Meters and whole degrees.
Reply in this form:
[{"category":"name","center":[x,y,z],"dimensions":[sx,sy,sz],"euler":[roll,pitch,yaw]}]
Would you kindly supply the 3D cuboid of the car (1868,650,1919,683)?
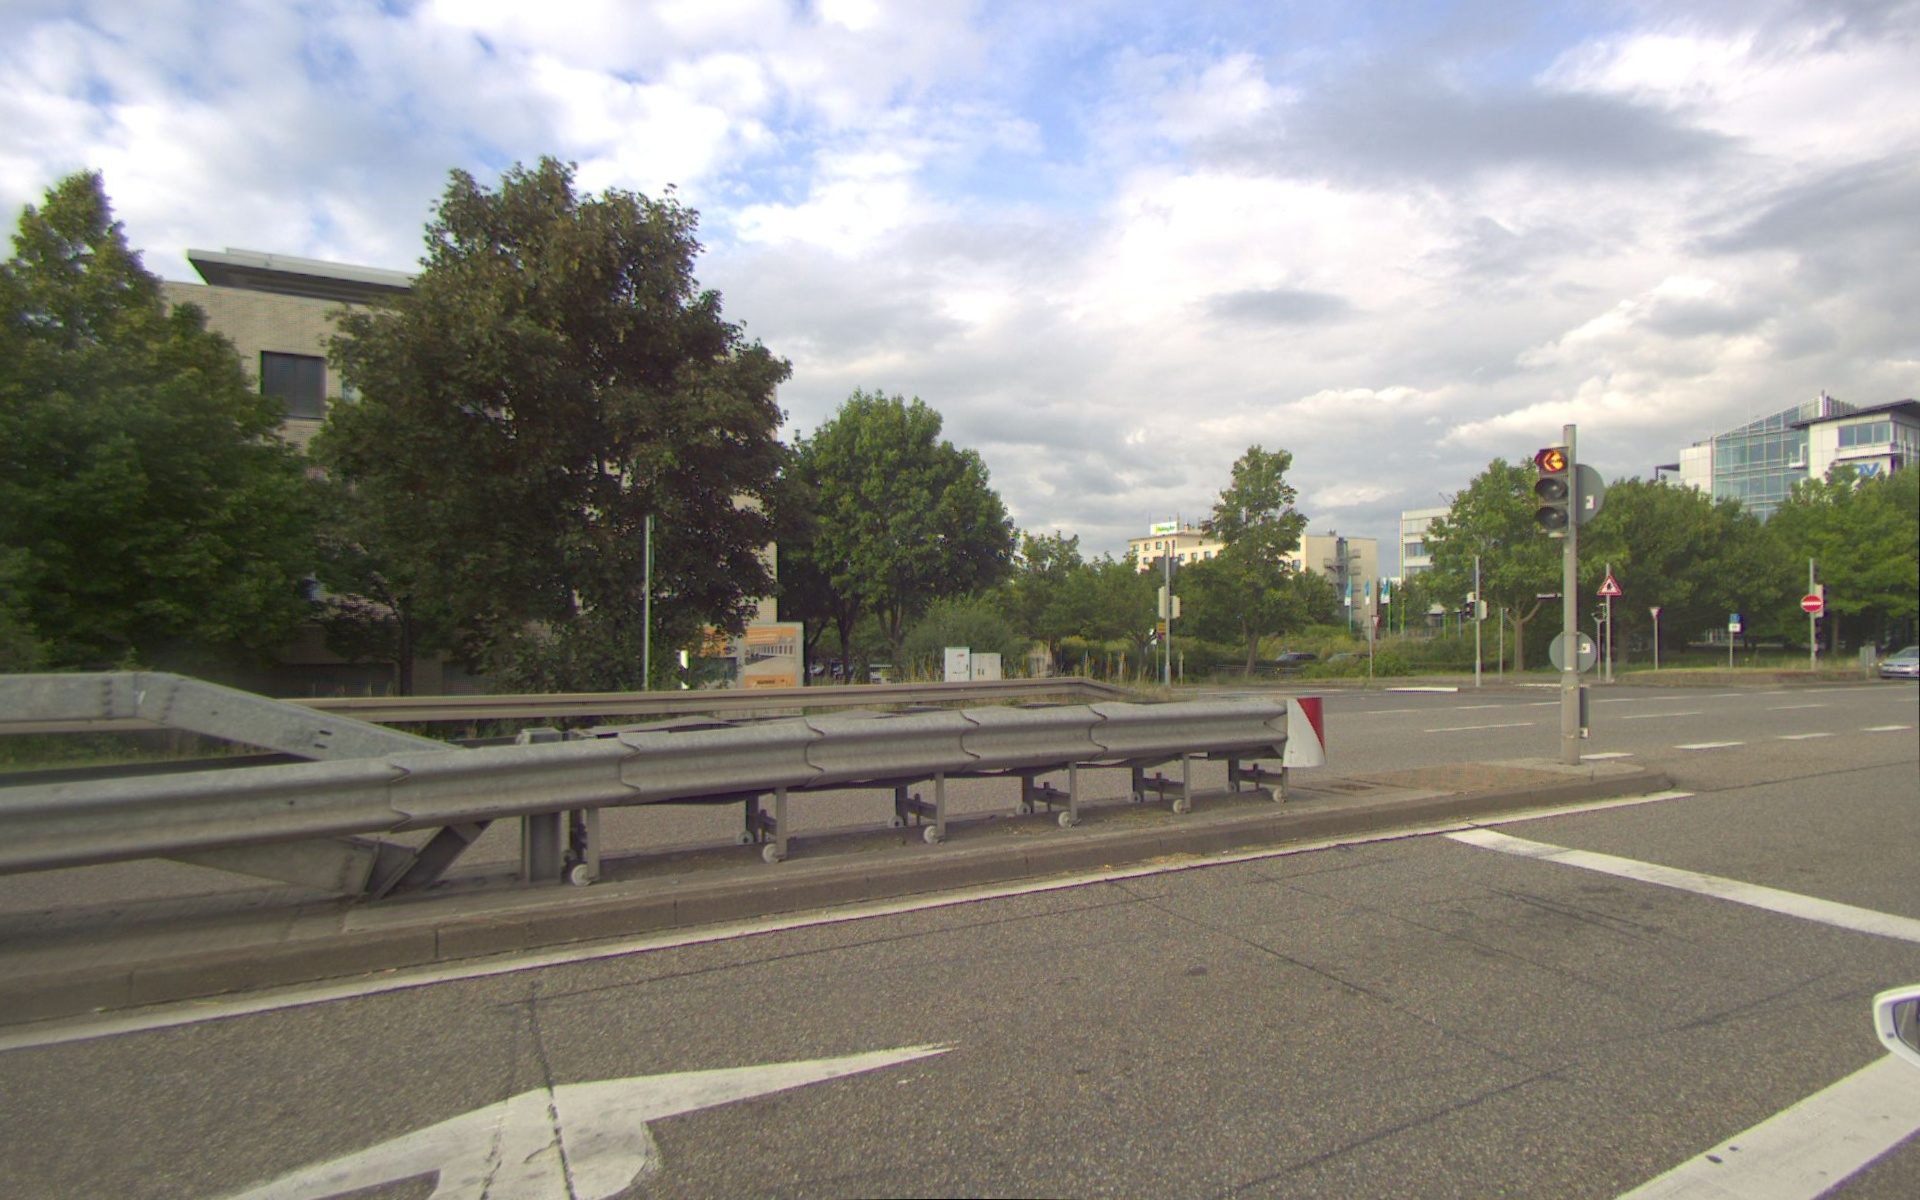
[{"category":"car","center":[41.224,2.799,42.828],"dimensions":[3.679,1.359,1.586],"euler":[-1,-4,-5]}]
